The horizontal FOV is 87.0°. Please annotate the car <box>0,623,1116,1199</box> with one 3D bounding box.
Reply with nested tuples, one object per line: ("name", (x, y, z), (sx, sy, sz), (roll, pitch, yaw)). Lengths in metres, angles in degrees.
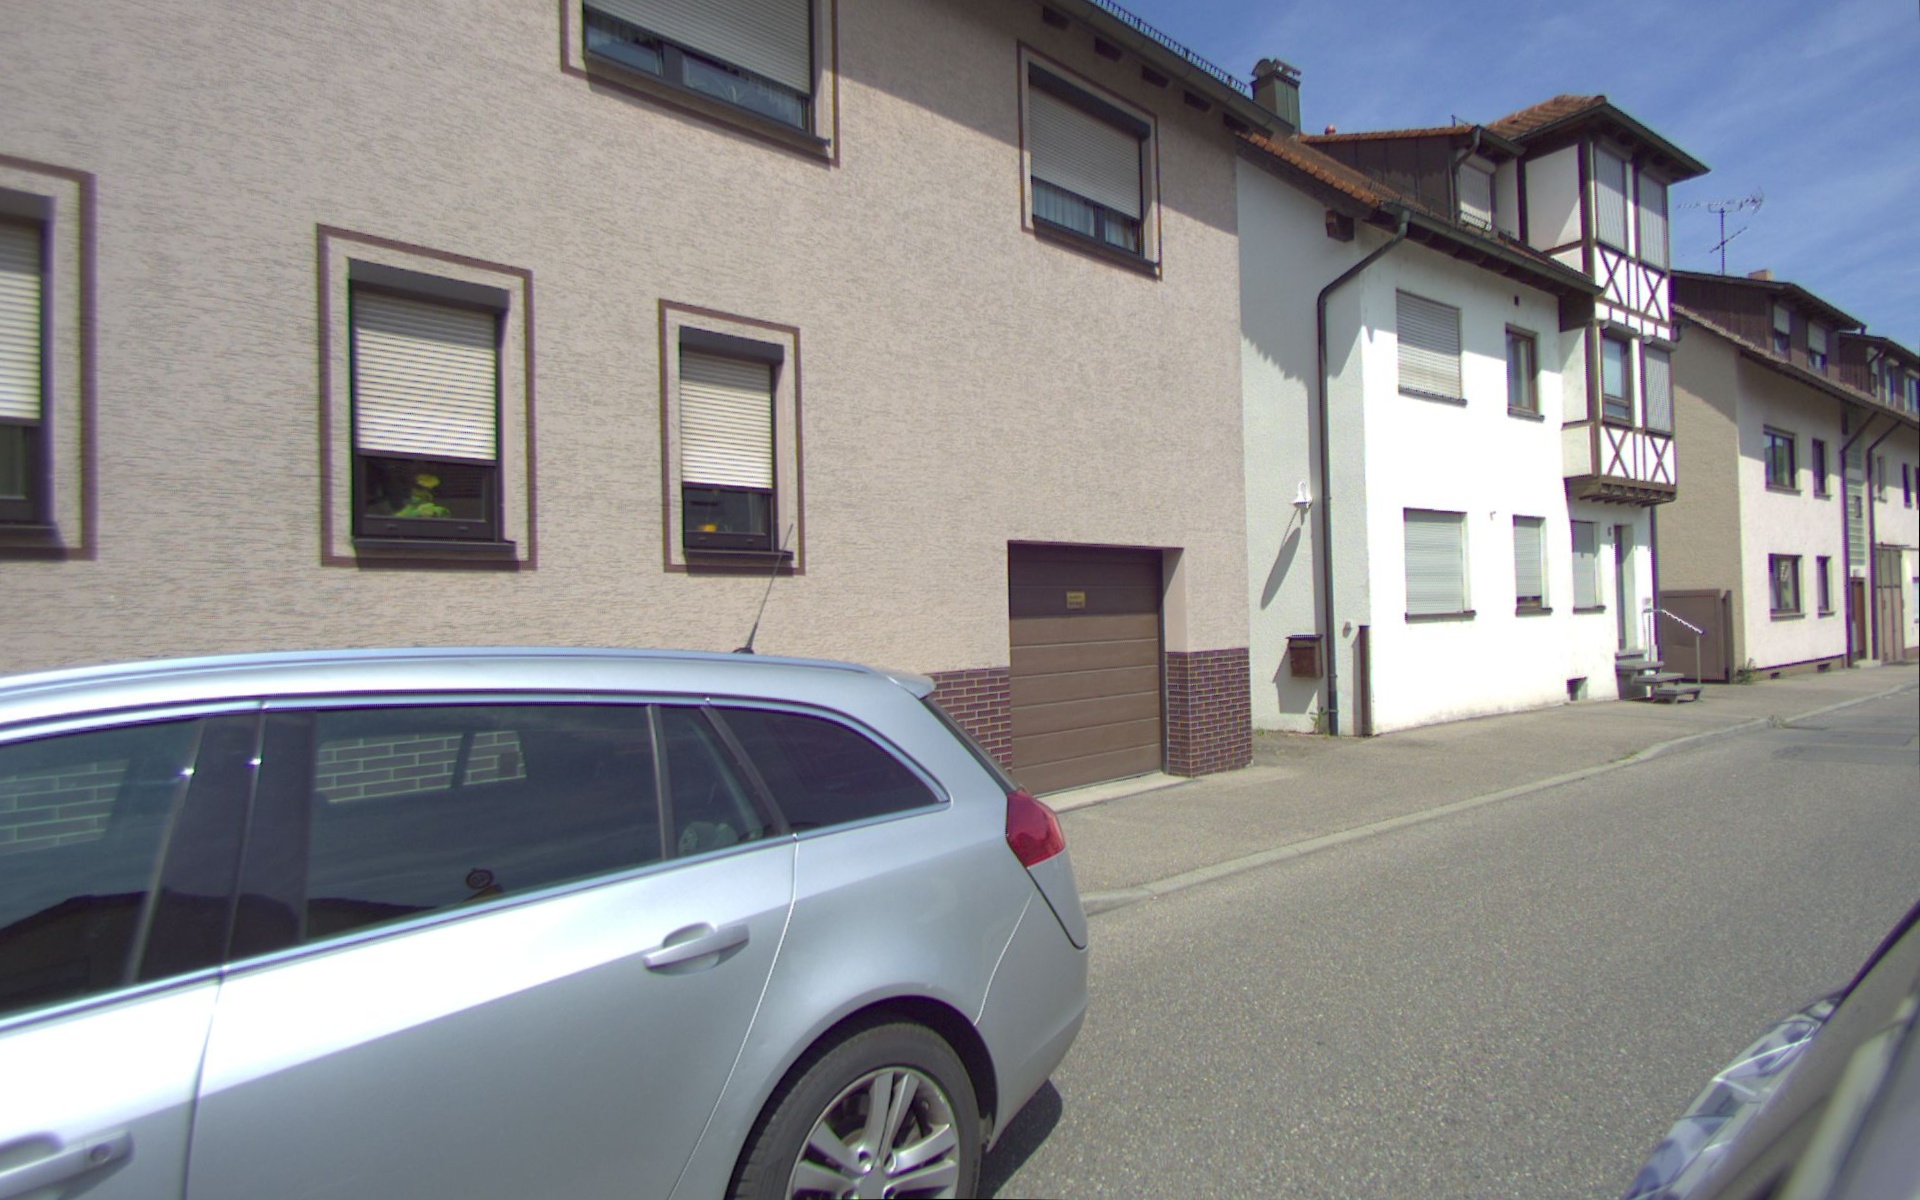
("car", (-1.774, 0.817, 1.802), (4.264, 1.461, 1.787), (1, -3, -43))
